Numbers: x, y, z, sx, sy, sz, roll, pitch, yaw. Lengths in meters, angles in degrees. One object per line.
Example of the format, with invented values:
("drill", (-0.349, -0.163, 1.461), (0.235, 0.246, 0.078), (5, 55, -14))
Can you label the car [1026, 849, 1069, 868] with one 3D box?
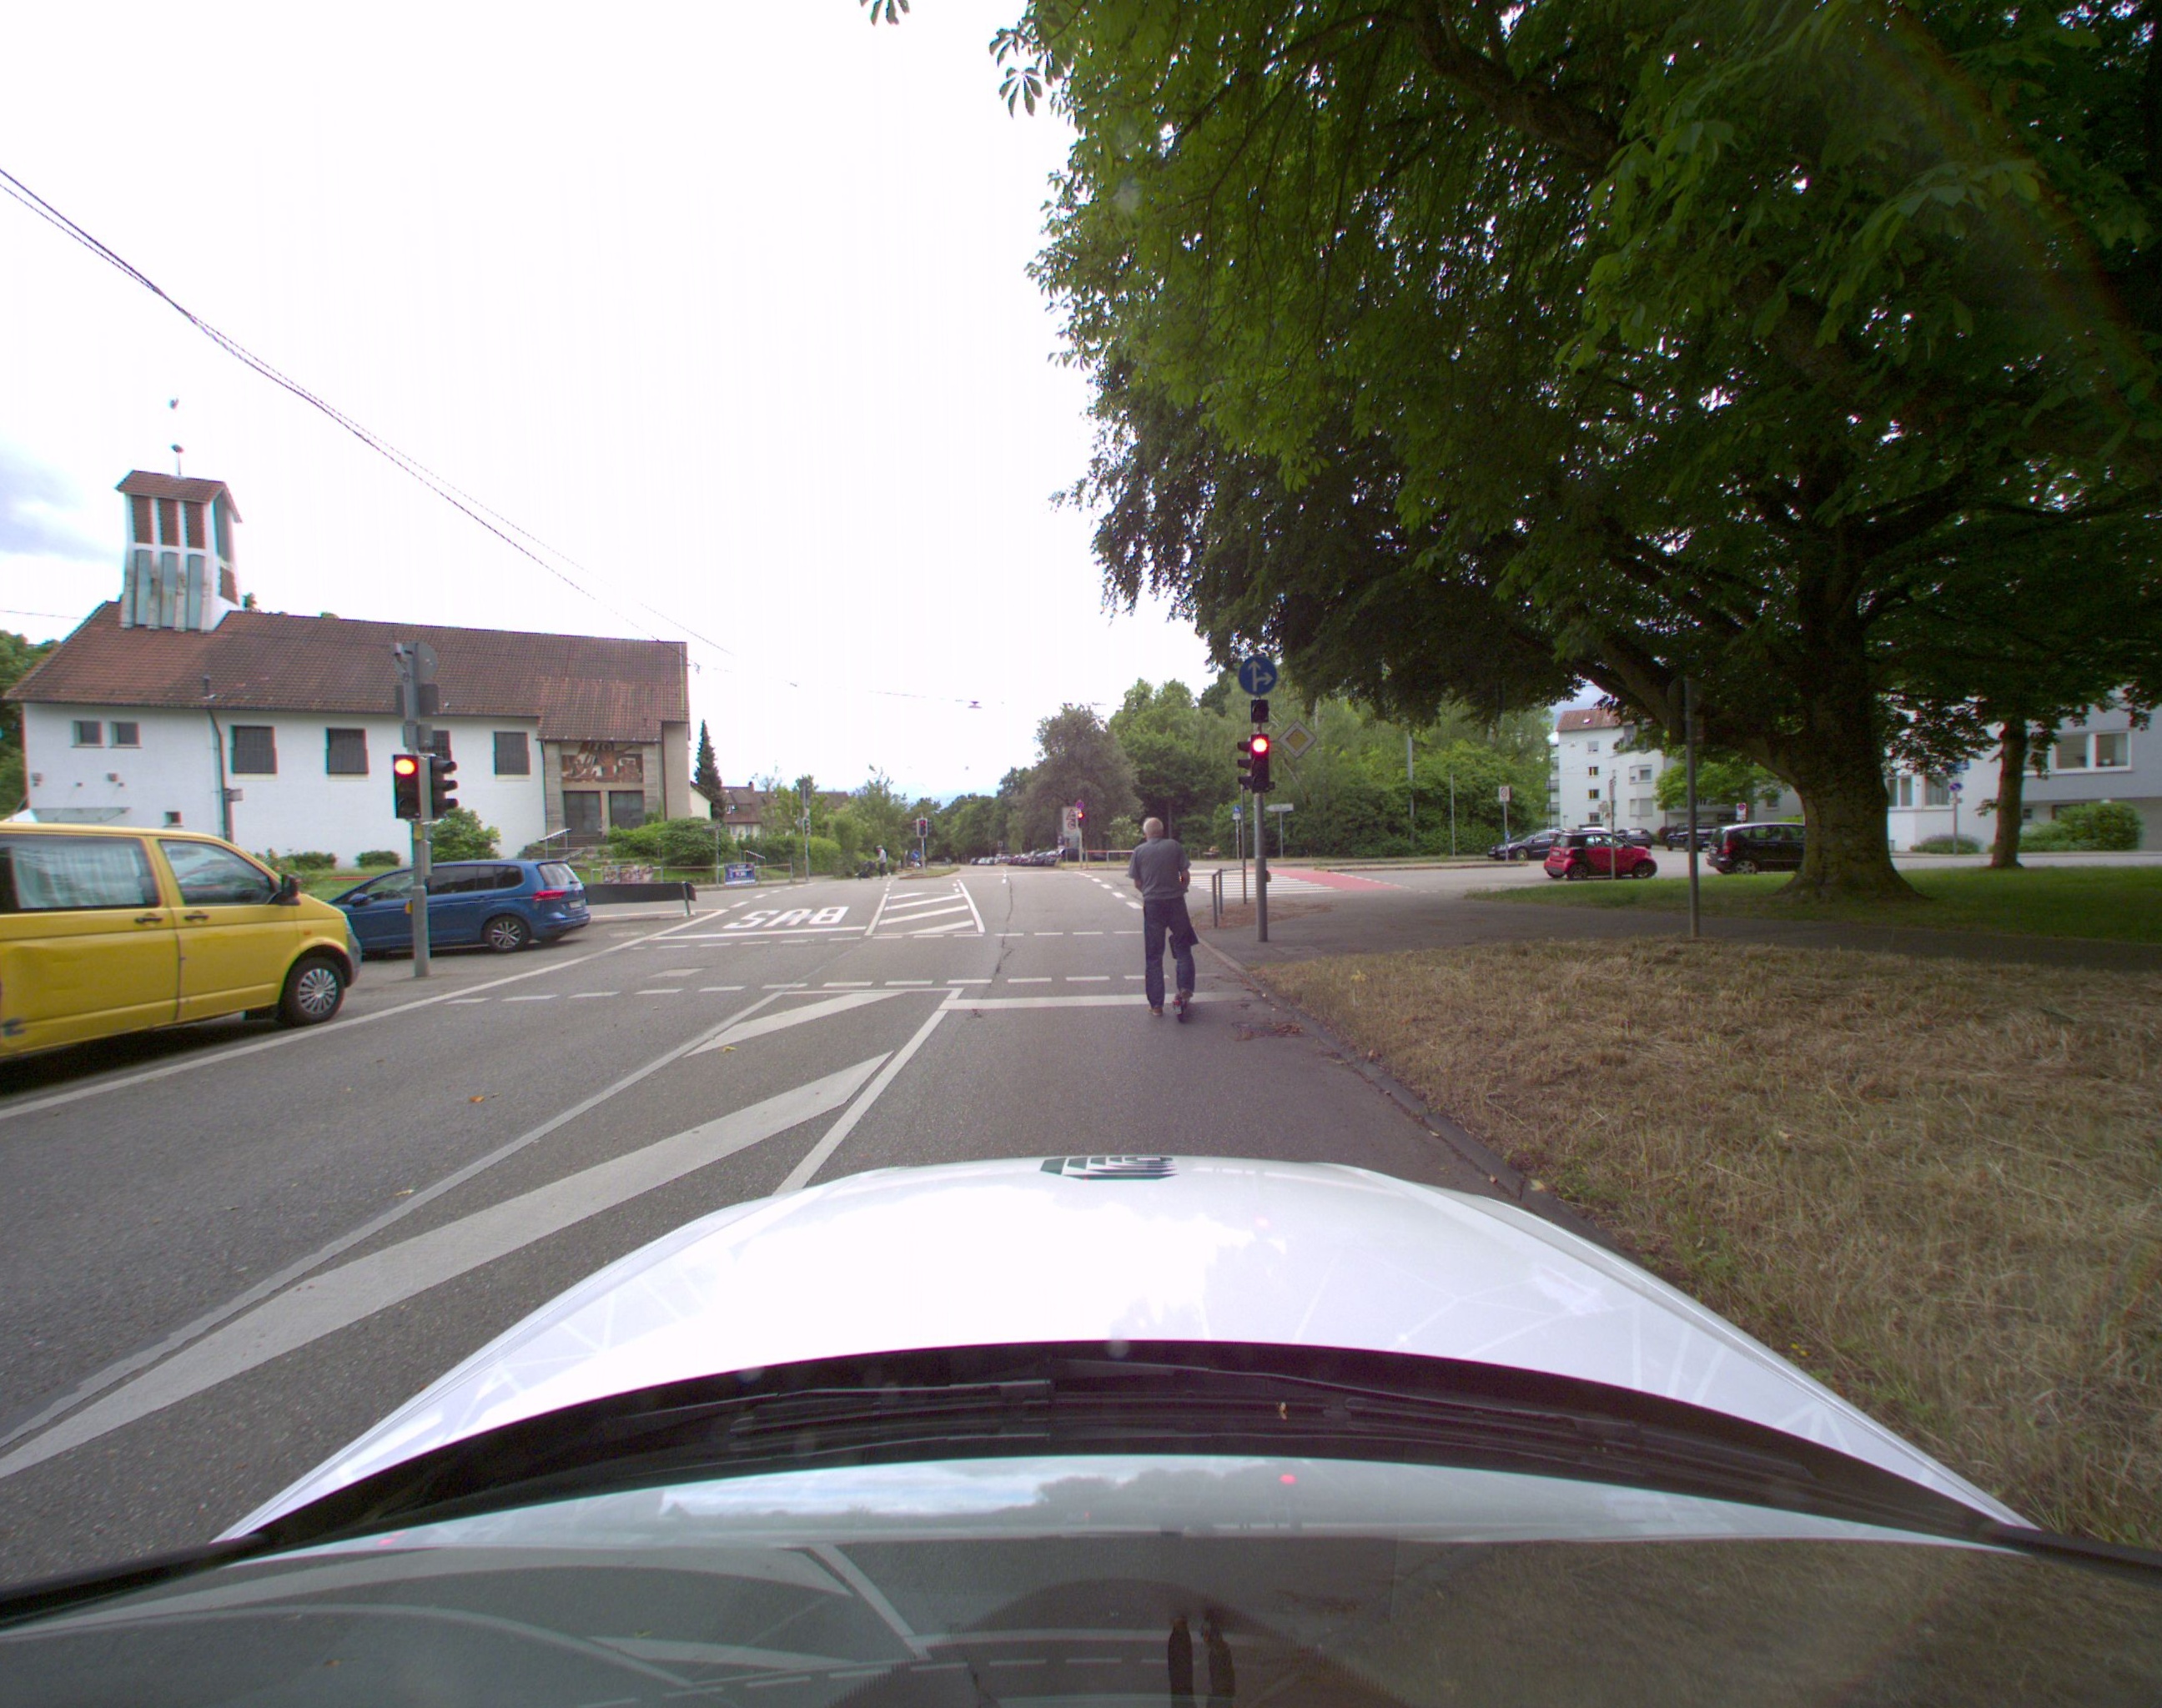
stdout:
("car", (-3.279, 0.461, 79.568), (3.856, 1.610, 1.716), (-3, 1, -21))

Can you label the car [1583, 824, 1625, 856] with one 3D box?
("car", (28.783, -0.794, 44.892), (1.706, 1.610, 3.878), (-3, 1, 30))

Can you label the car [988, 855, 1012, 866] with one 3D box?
("car", (-14.327, 1.121, 143.342), (3.856, 1.610, 1.716), (-3, 1, -21))

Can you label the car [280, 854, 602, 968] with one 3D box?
("car", (-11.069, 0.912, 14.427), (3.992, 1.610, 1.810), (-3, 0, -14))

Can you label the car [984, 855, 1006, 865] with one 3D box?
("car", (-16.342, 1.148, 154.703), (3.856, 1.610, 1.716), (-3, 1, -21))

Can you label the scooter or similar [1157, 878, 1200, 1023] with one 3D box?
("scooter or similar", (0.913, 0.839, 7.495), (0.280, 1.178, 1.180), (-2, 0, 10))

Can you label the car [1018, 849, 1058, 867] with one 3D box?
("car", (-4.600, 0.412, 86.954), (3.856, 1.610, 1.716), (-3, 1, -21))

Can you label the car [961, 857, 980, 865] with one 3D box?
("car", (-24.227, 1.511, 178.810), (3.856, 1.610, 1.716), (-3, 1, -21))

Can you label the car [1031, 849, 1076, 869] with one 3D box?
("car", (-2.592, 0.451, 77.008), (3.857, 1.610, 1.715), (-3, 1, -22))

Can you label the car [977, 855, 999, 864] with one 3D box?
("car", (-18.146, 1.116, 159.454), (3.856, 1.610, 1.716), (-3, 1, -21))

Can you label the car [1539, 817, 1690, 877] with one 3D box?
("car", (16.521, -0.212, 25.358), (3.499, 1.610, 1.732), (-3, 0, 7))

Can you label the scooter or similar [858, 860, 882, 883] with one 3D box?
("scooter or similar", (-10.574, 0.885, 40.841), (1.110, 1.081, 0.574), (-2, 0, -15))

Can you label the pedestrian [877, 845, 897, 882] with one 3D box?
("pedestrian", (-9.776, 0.476, 41.109), (0.886, 1.862, 0.571), (-2, 0, -16))

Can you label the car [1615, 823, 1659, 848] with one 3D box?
("car", (38.953, -1.283, 57.136), (1.707, 1.610, 3.875), (-3, 1, 22))

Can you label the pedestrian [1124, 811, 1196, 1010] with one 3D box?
("pedestrian", (0.750, 0.518, 7.676), (0.569, 1.813, 0.421), (-2, 0, 10))

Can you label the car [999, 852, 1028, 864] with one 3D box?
("car", (-10.123, 0.616, 122.356), (3.856, 1.610, 1.716), (-3, 1, -21))

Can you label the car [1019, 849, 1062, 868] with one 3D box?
("car", (-4.049, 0.436, 81.623), (3.856, 1.610, 1.716), (-3, 1, -21))

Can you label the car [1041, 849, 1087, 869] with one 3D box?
("car", (-1.582, 0.424, 75.012), (3.854, 1.610, 1.717), (-3, 0, -19))

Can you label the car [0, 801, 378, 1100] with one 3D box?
("car", (-8.305, 0.680, 6.342), (1.880, 2.013, 4.558), (-2, 0, -5))

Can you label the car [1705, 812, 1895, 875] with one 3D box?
("car", (20.828, -0.299, 23.801), (3.805, 1.610, 1.739), (-3, 1, 27))

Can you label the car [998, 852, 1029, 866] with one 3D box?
("car", (-9.050, 0.665, 109.352), (3.856, 1.610, 1.716), (-3, 1, -21))

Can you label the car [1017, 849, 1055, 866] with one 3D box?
("car", (-4.932, 0.418, 89.376), (3.856, 1.610, 1.716), (-3, 1, -21))

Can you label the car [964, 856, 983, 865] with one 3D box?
("car", (-23.313, 1.420, 176.449), (3.856, 1.610, 1.716), (-3, 1, -21))

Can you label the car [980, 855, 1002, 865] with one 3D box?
("car", (-17.320, 1.111, 156.861), (3.856, 1.610, 1.716), (-3, 1, -21))

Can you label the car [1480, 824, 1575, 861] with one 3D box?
("car", (21.108, -0.565, 38.602), (3.498, 1.530, 1.732), (-3, 0, 8))

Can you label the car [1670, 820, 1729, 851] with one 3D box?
("car", (35.566, -1.074, 46.926), (1.707, 1.610, 3.875), (-3, 1, 22))
